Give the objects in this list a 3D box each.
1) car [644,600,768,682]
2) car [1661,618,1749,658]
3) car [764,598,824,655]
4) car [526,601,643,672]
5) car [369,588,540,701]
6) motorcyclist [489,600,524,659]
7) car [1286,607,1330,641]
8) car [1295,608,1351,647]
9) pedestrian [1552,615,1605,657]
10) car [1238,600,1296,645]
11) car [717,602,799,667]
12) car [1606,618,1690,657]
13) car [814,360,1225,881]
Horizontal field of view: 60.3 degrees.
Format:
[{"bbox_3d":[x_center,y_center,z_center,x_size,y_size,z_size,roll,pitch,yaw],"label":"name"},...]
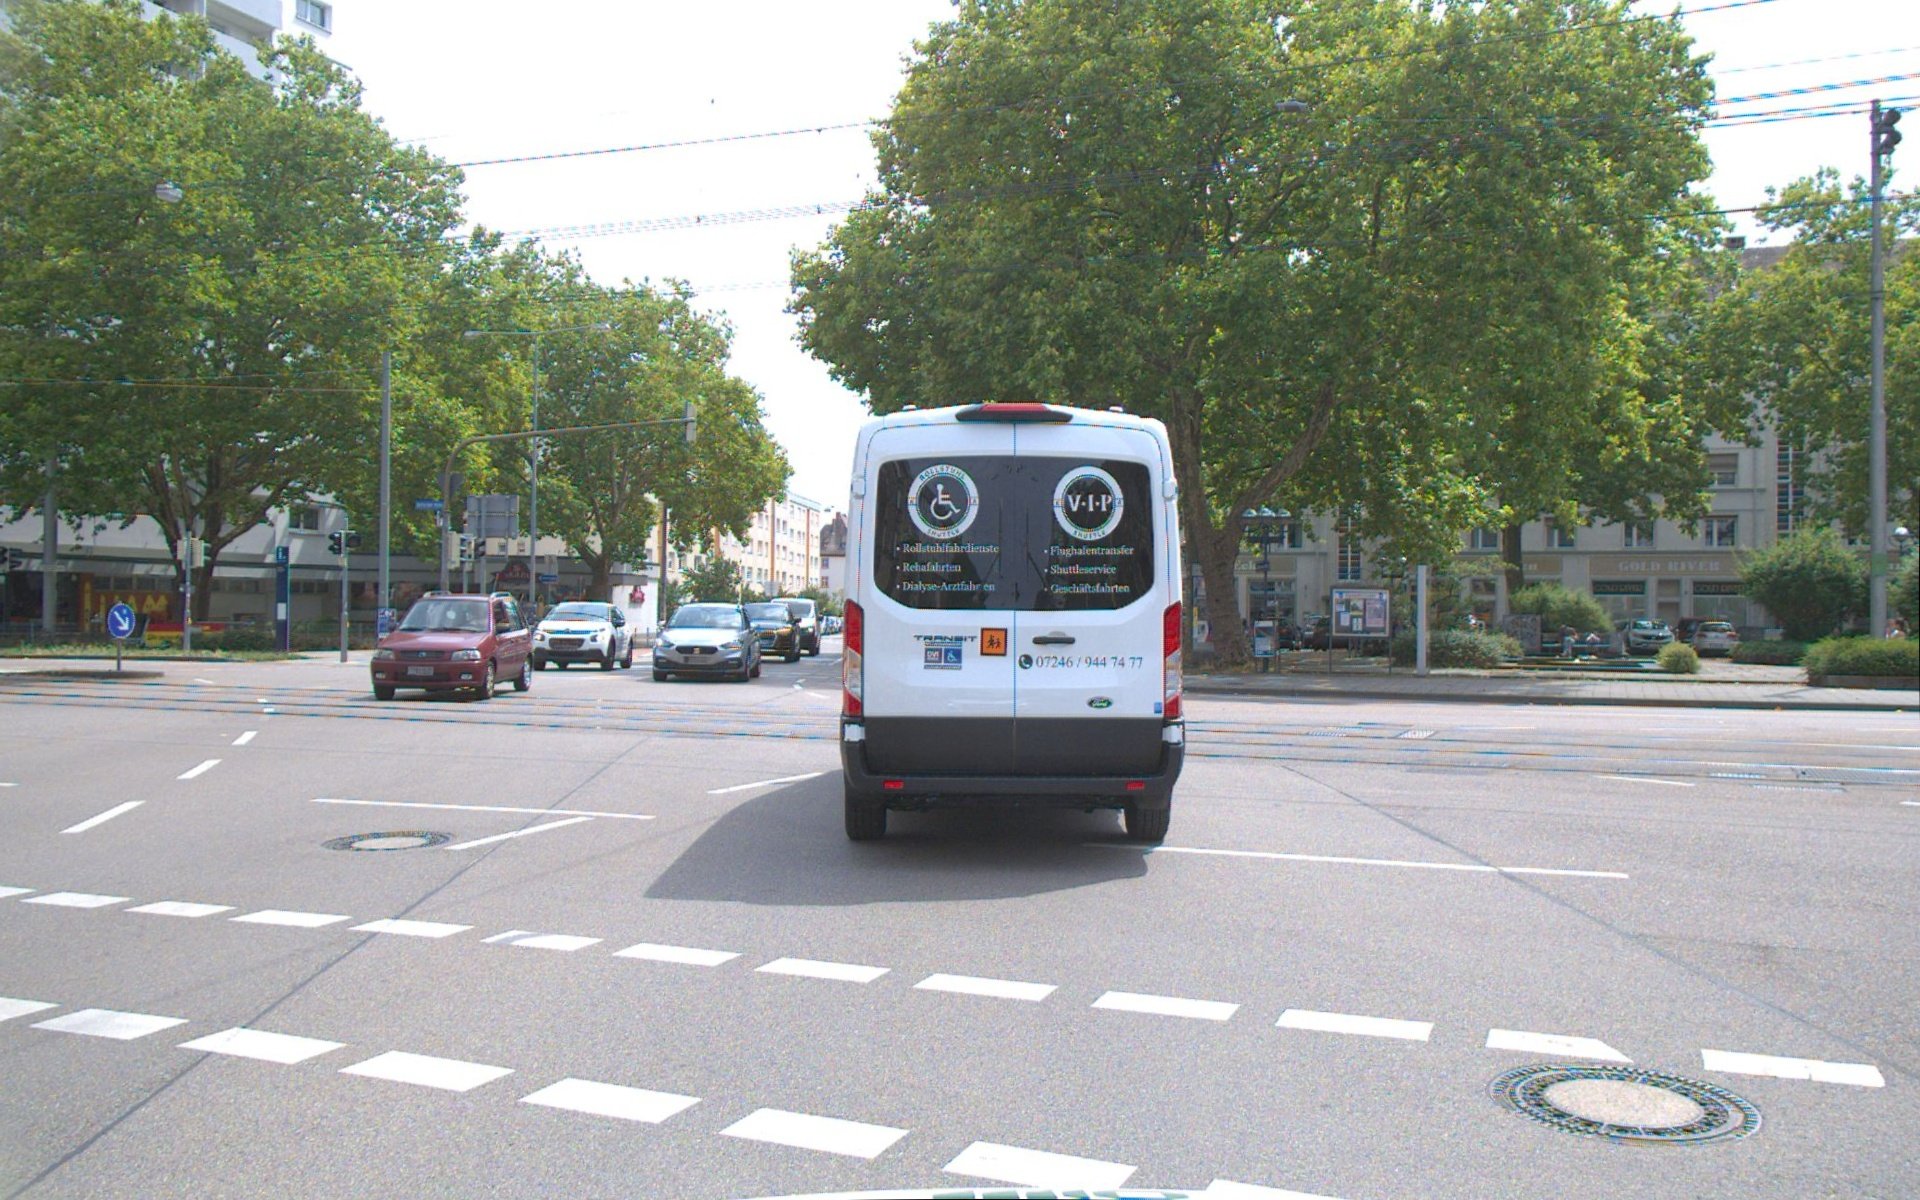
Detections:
[{"bbox_3d":[-4.787,0.743,31.626,1.795,1.452,4.120,0,0,-1],"label":"car"},{"bbox_3d":[30.971,1.558,68.885,1.952,1.545,4.001,0,0,1],"label":"car"},{"bbox_3d":[-5.904,0.930,59.254,1.707,1.964,4.852,0,0,-1],"label":"car"},{"bbox_3d":[-8.201,0.769,36.424,1.707,1.452,4.031,0,0,-1],"label":"car"},{"bbox_3d":[-7.385,0.621,24.502,1.560,1.534,3.804,0,0,-4],"label":"car"},{"bbox_3d":[-11.131,0.723,40.603,0.669,1.420,0.681,0,0,-3],"label":"motorcyclist"},{"bbox_3d":[17.839,1.219,84.738,1.767,1.713,4.002,0,0,18],"label":"car"},{"bbox_3d":[16.294,1.205,74.384,1.767,1.713,4.001,0,0,1],"label":"car"},{"bbox_3d":[19.013,1.101,50.852,1.069,1.257,1.441,-1,-1,1],"label":"pedestrian"},{"bbox_3d":[13.827,0.999,74.726,1.952,1.964,4.001,0,0,1],"label":"car"},{"bbox_3d":[-5.257,0.867,43.471,1.707,1.615,4.328,0,0,-1],"label":"car"},{"bbox_3d":[28.745,1.549,69.253,1.952,1.529,4.001,0,0,1],"label":"car"},{"bbox_3d":[0.142,0.069,10.969,2.139,2.694,4.624,-1,1,-5],"label":"car"}]
